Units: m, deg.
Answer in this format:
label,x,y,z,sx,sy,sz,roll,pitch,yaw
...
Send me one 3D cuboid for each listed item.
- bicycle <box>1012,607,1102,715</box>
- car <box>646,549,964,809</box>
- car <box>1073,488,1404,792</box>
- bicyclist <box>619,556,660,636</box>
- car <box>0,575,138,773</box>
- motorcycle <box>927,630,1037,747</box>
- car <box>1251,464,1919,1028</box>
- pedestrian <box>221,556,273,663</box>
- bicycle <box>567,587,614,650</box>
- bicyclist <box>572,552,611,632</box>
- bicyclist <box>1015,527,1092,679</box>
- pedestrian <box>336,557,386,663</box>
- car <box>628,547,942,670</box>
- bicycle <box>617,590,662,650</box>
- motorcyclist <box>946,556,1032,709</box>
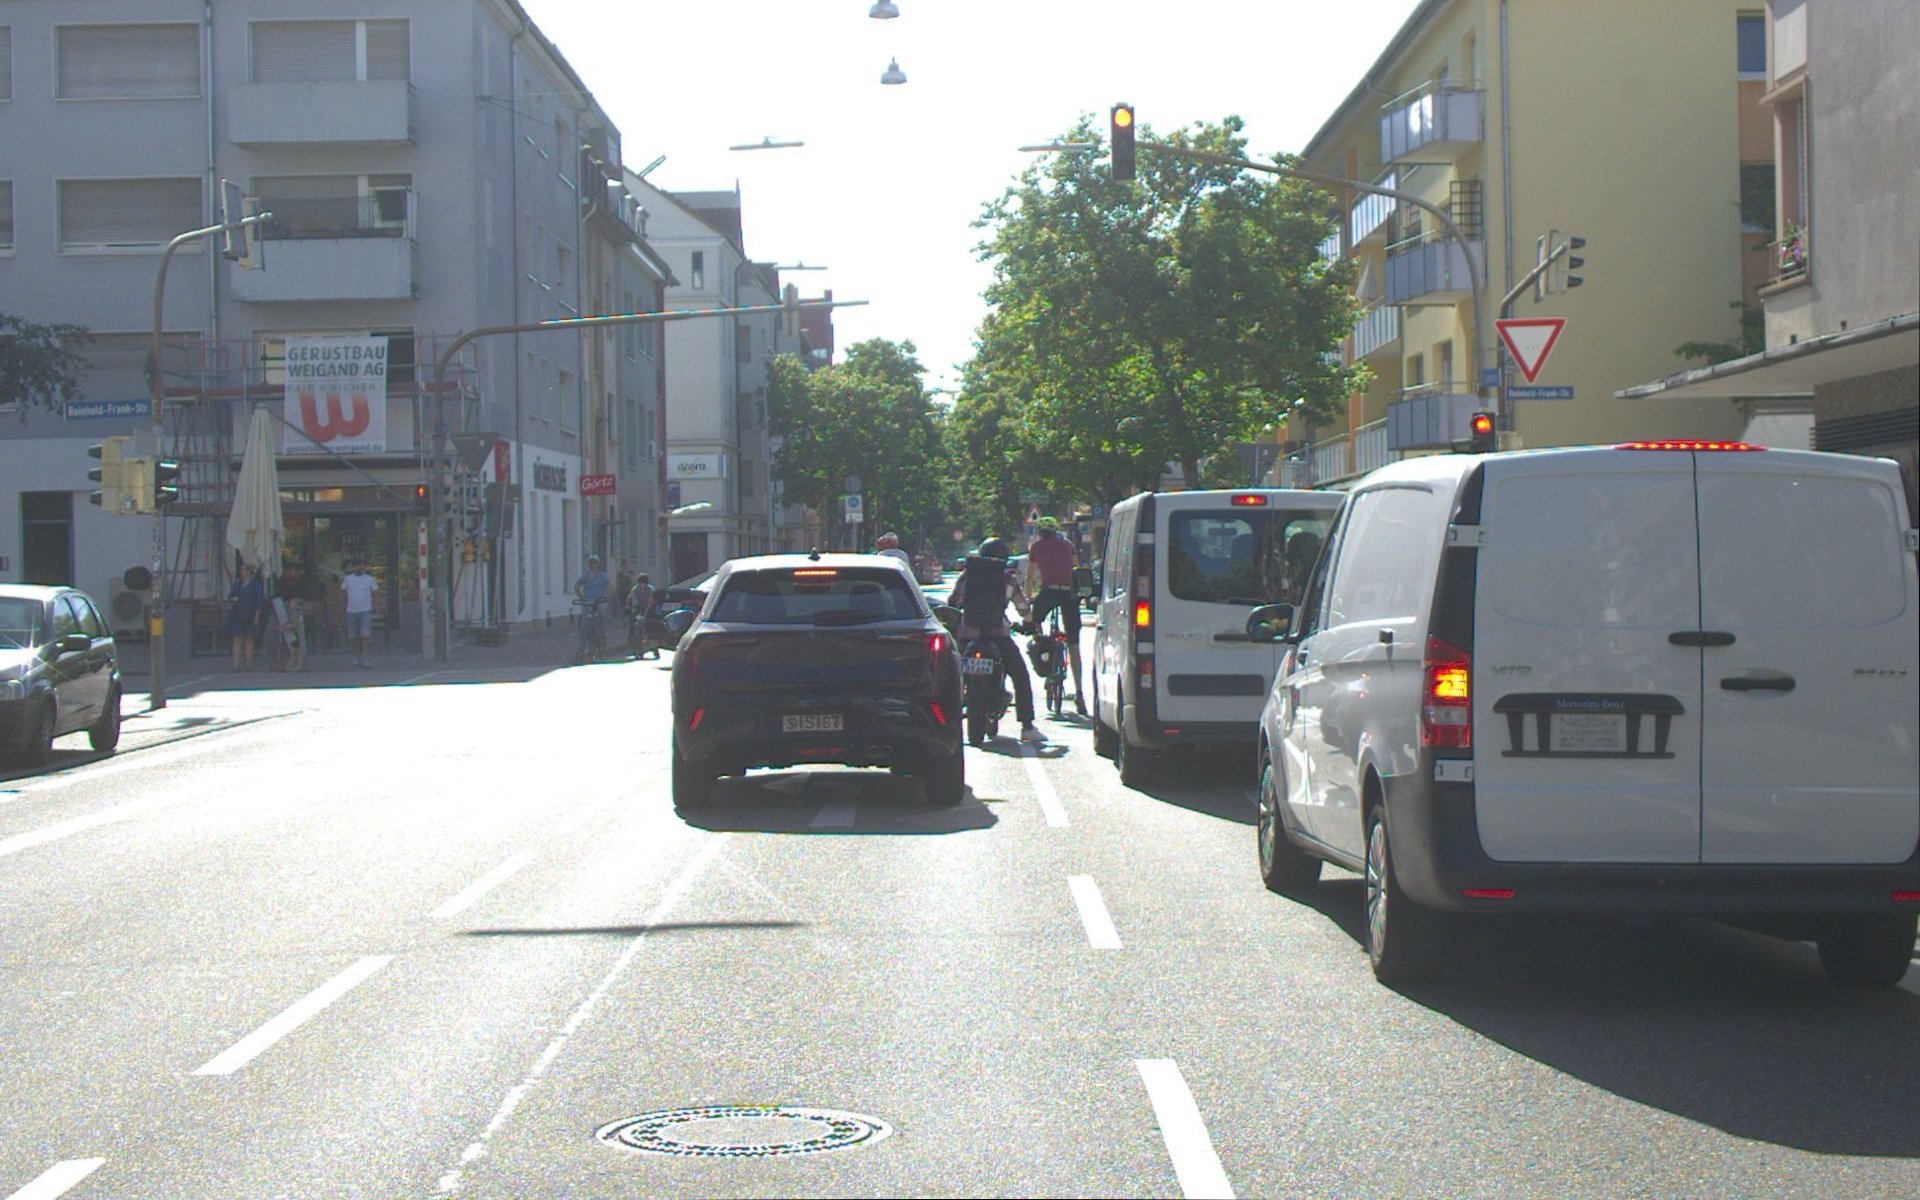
label,x,y,z,sx,sy,sz,roll,pitch,yaw
bicycle,0.927,0.577,33.324,0.775,0.989,1.717,0,1,-2
car,-0.956,0.441,22.038,1.844,1.502,4.000,0,1,-2
car,1.839,0.229,24.081,1.815,1.914,4.644,0,1,-2
bicyclist,-5.541,-0.065,59.489,0.570,1.365,0.583,-1,0,8
car,-8.056,0.549,28.387,1.653,1.474,4.000,1,1,-2
motorcycle,0.165,0.706,27.934,0.807,0.860,1.823,2,0,-2
car,2.336,0.447,13.346,1.984,1.816,4.547,0,1,0
pedestrian,-11.063,0.143,53.320,0.683,1.658,0.601,0,0,-2
bicycle,-6.403,0.318,59.542,0.564,1.081,1.103,0,0,7
bicyclist,-6.387,-0.139,59.621,0.545,1.377,0.521,1,0,8
bicyclist,0.908,0.023,33.413,0.683,1.444,0.940,-1,1,-2
pedestrian,-9.434,0.159,54.191,0.683,1.658,0.601,0,0,-2
car,-2.429,0.094,48.290,3.988,1.634,1.999,-1,1,-39
bicycle,-5.541,0.342,59.471,0.535,1.002,1.110,-1,1,7
motorcyclist,0.233,0.256,27.975,0.658,1.223,0.694,-1,1,-2
